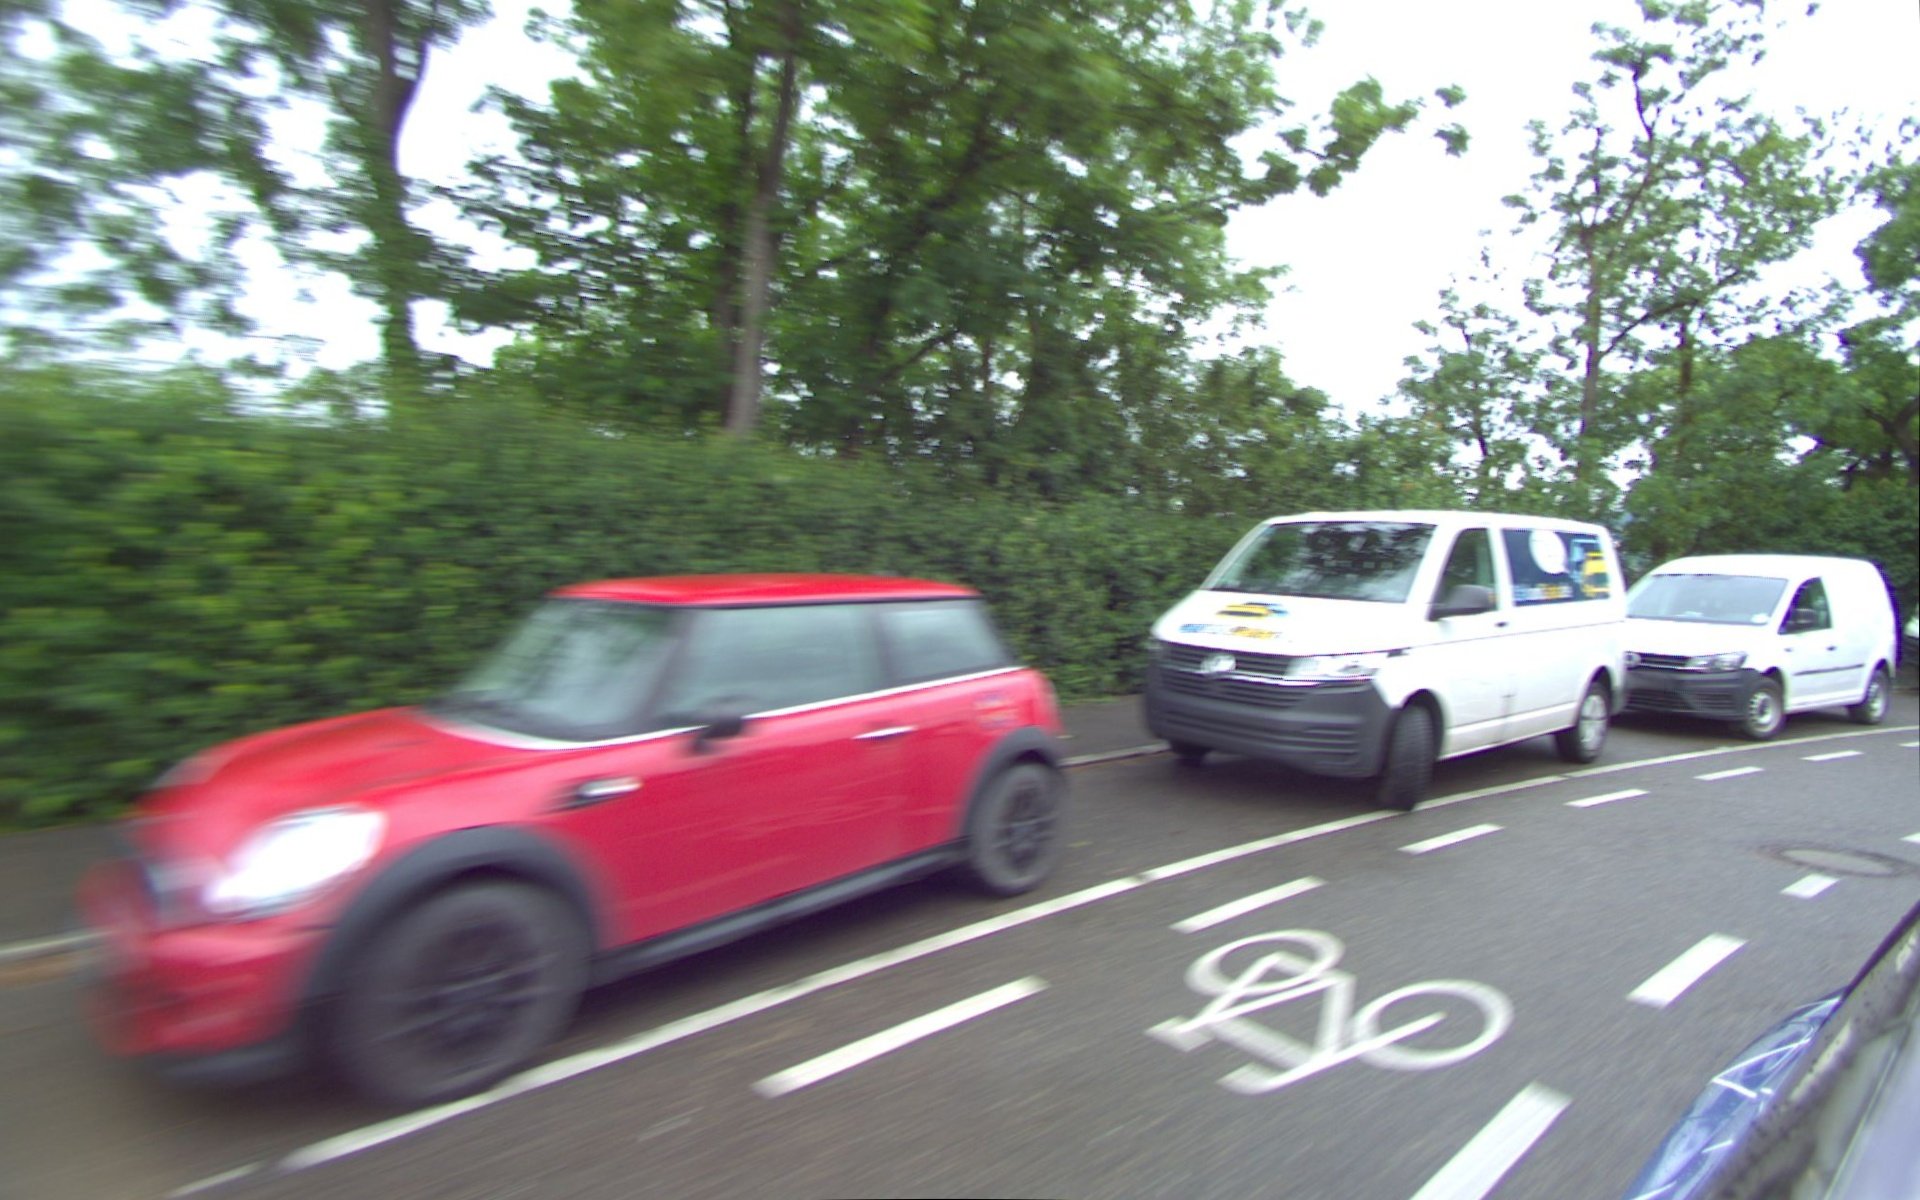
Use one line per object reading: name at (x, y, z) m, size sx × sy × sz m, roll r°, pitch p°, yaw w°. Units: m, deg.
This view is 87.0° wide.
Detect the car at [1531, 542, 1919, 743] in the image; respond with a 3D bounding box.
car at (8.347, 0.301, 10.921) m, size 4.291 × 1.792 × 1.868 m, roll -1°, pitch 2°, yaw -30°

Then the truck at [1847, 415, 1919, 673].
truck at (17.448, -0.735, 14.174) m, size 8.746 × 3.512 × 2.790 m, roll 0°, pitch 3°, yaw -13°

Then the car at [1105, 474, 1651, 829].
car at (3.433, 0.206, 7.838) m, size 4.721 × 1.972 × 1.865 m, roll -2°, pitch 3°, yaw -39°

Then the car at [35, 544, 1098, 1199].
car at (-1.192, 0.547, 4.119) m, size 1.670 × 1.431 × 3.685 m, roll 0°, pitch 1°, yaw 43°
